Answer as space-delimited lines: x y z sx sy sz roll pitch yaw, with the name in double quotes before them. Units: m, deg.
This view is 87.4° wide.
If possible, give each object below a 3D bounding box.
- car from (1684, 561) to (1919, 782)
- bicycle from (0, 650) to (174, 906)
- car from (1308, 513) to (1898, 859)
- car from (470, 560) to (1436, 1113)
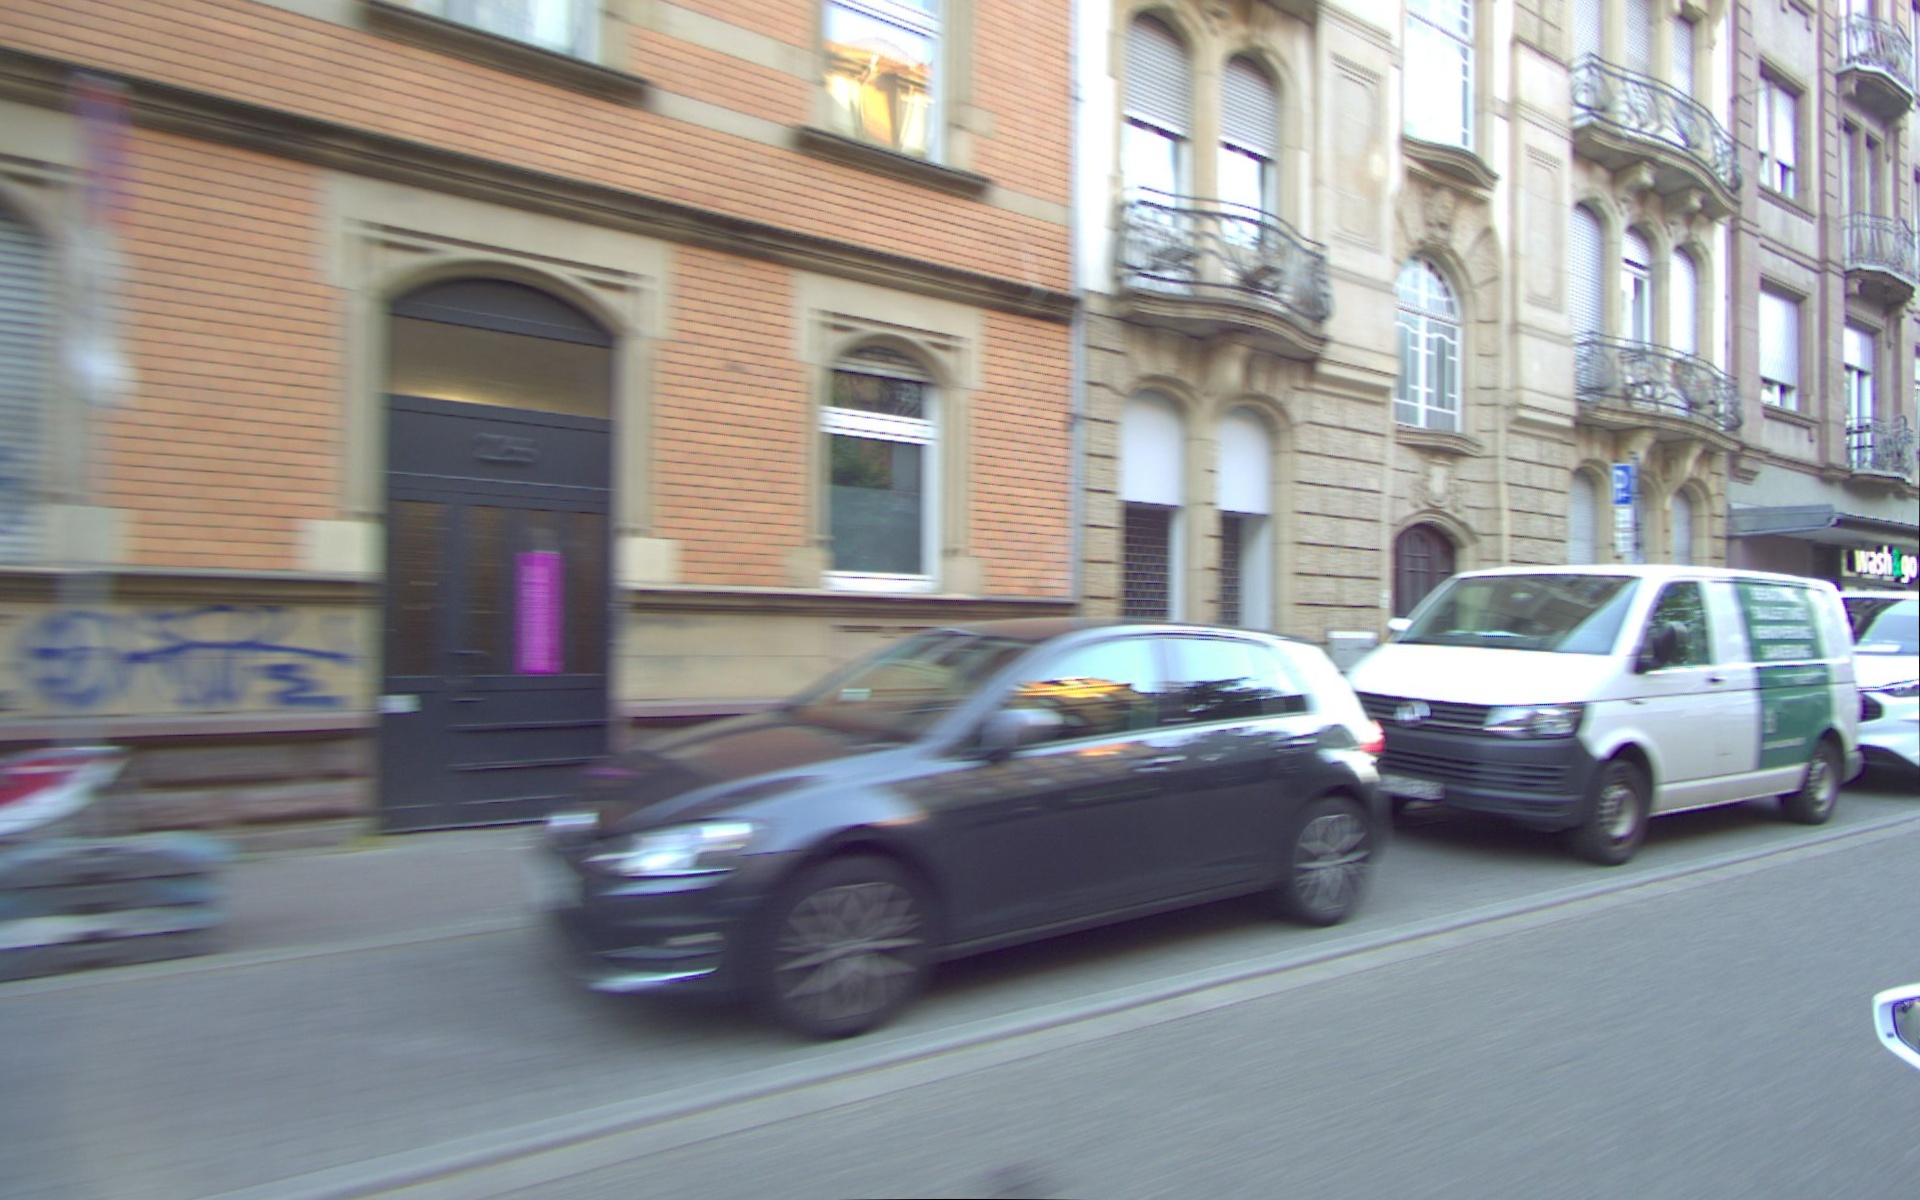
"car" 10.146 0.699 10.856 4.971 1.946 2.098 2 -2 -32
"bicycle" -4.859 0.799 4.539 2.007 1.116 0.744 2 -1 -37
"car" 5.028 0.552 7.667 4.788 1.946 1.828 2 -2 -30
"car" 0.144 0.702 4.618 4.128 1.490 1.826 2 -2 -33
